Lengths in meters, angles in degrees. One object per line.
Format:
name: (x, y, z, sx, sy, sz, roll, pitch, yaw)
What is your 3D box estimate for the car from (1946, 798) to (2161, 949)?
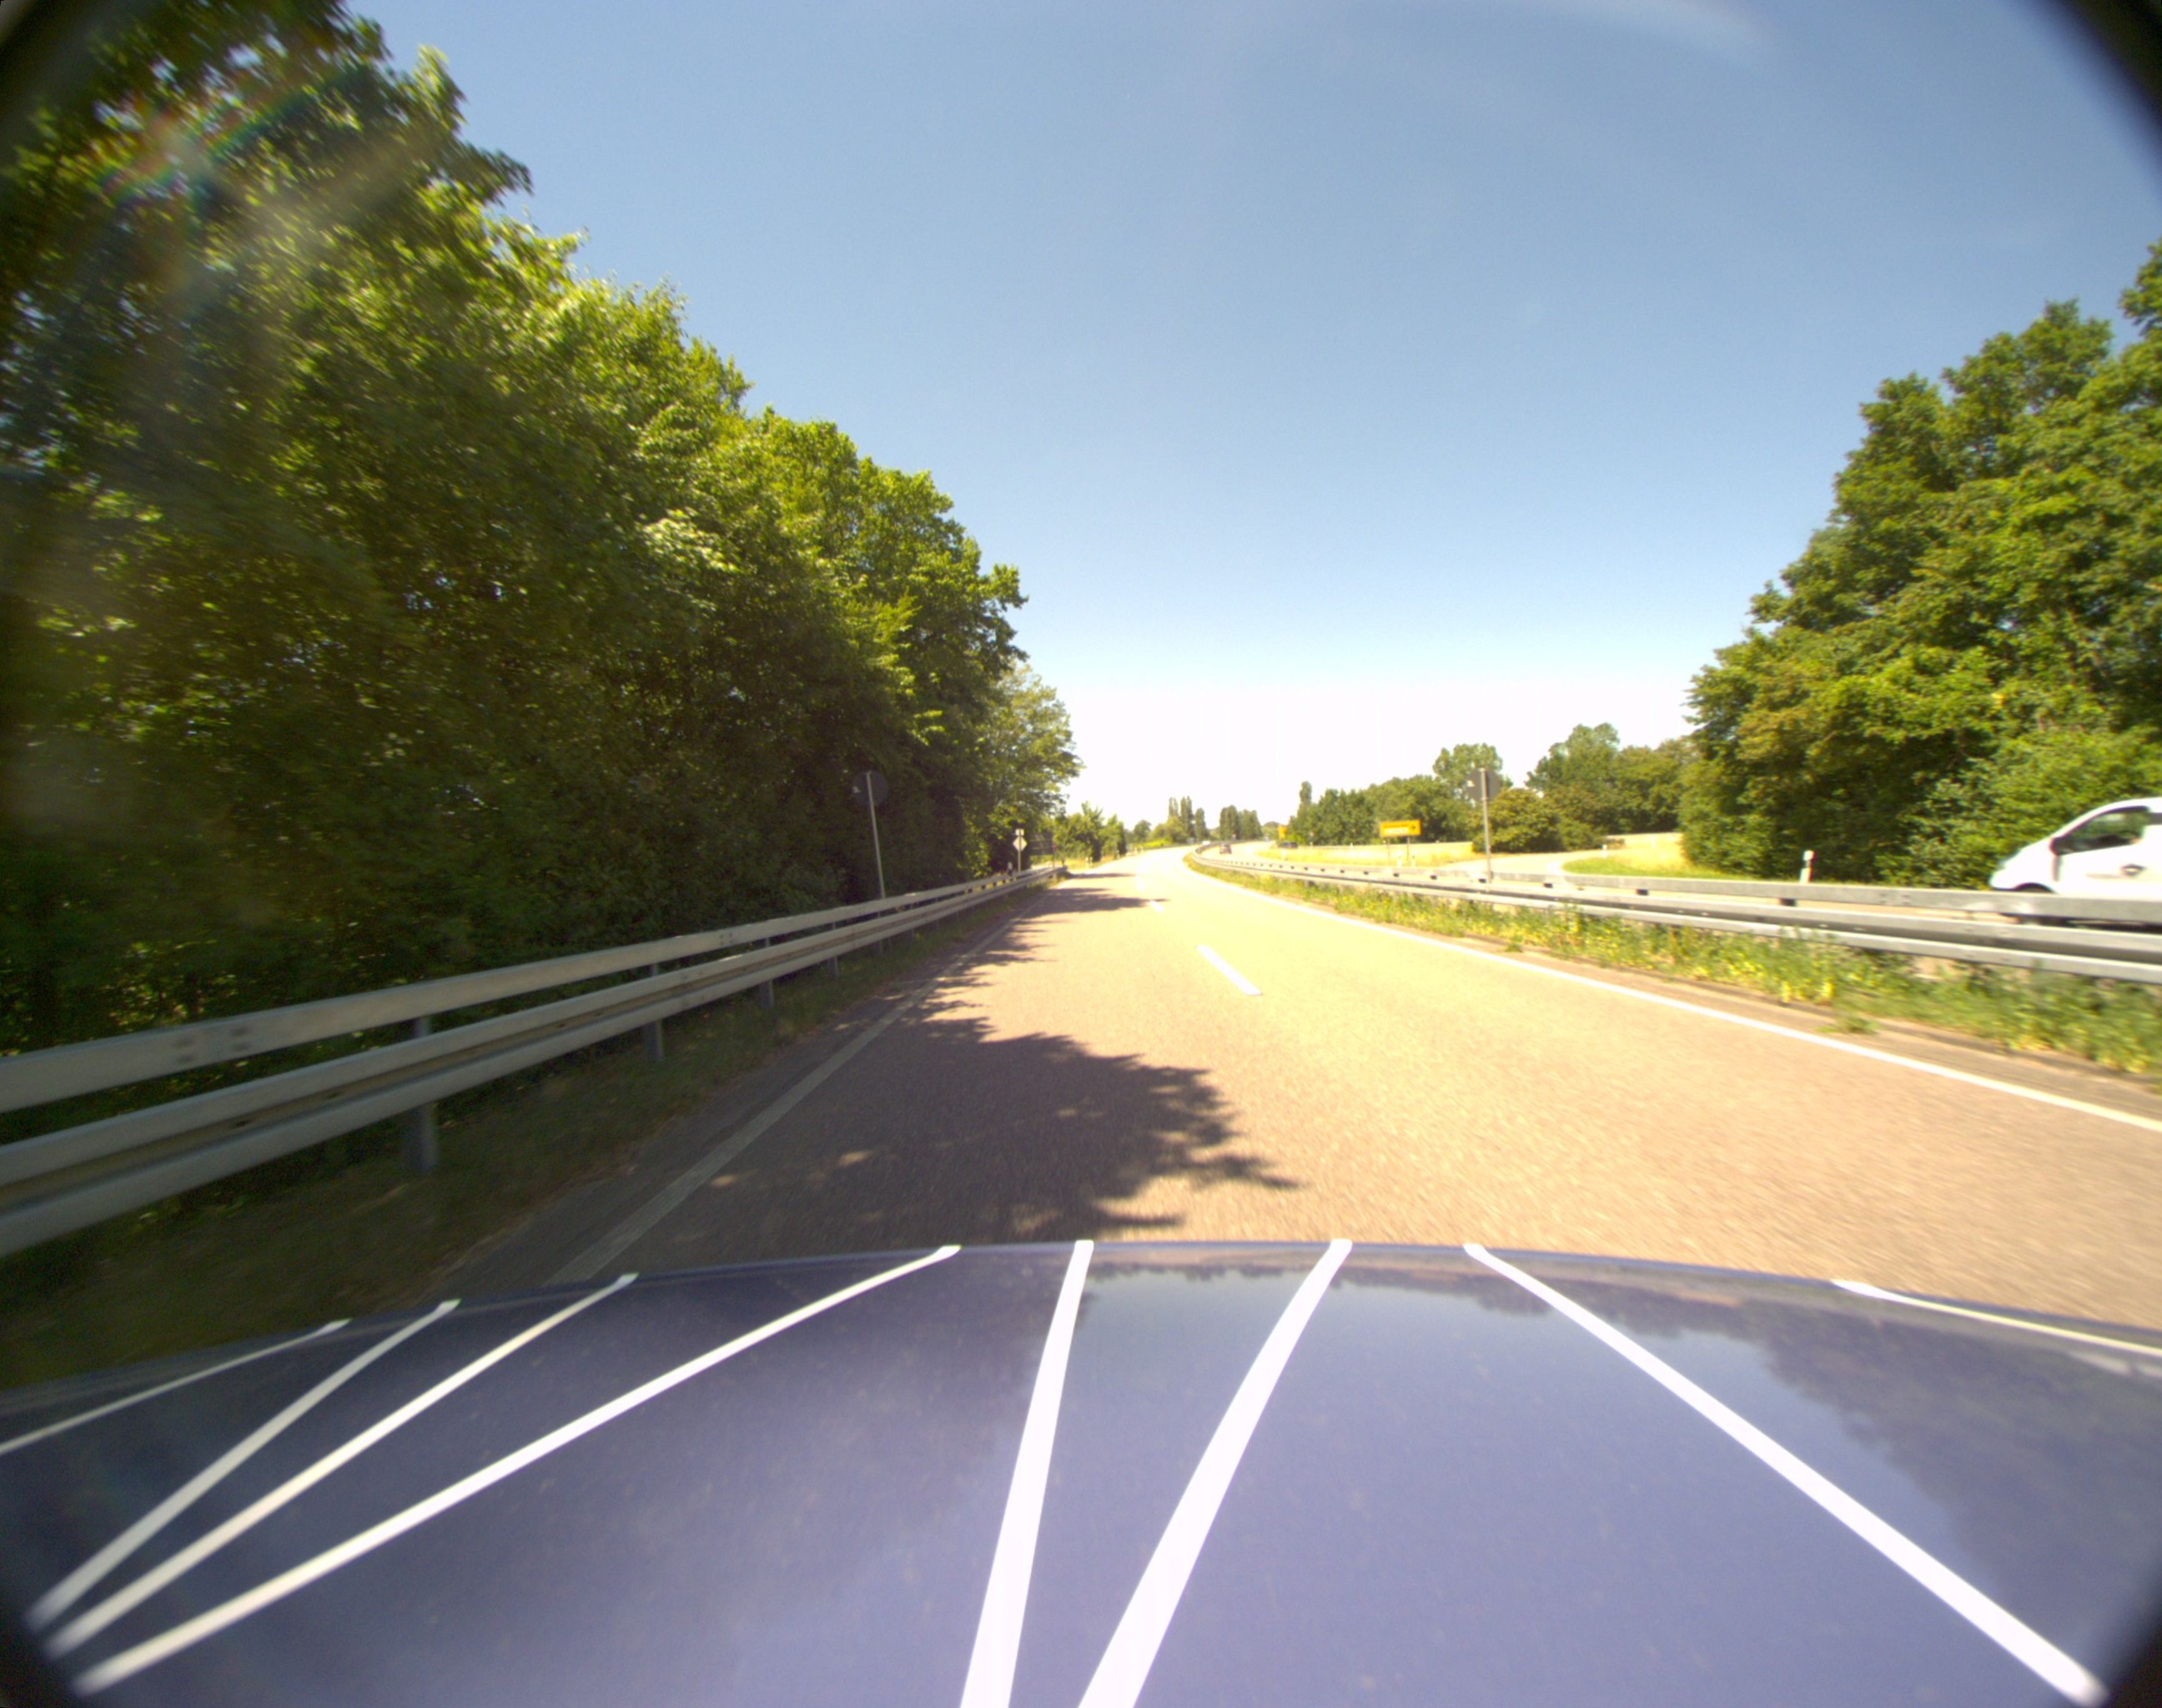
car: (14.865, 0.226, 9.509, 1.993, 1.940, 5.641, -1, 0, 5)

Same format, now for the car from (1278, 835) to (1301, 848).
car: (34.898, -2.081, 127.323, 2.000, 2.002, 3.995, -5, 1, -13)

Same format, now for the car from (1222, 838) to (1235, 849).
car: (23.725, -1.697, 122.101, 1.827, 1.608, 4.543, -1, 0, 9)
